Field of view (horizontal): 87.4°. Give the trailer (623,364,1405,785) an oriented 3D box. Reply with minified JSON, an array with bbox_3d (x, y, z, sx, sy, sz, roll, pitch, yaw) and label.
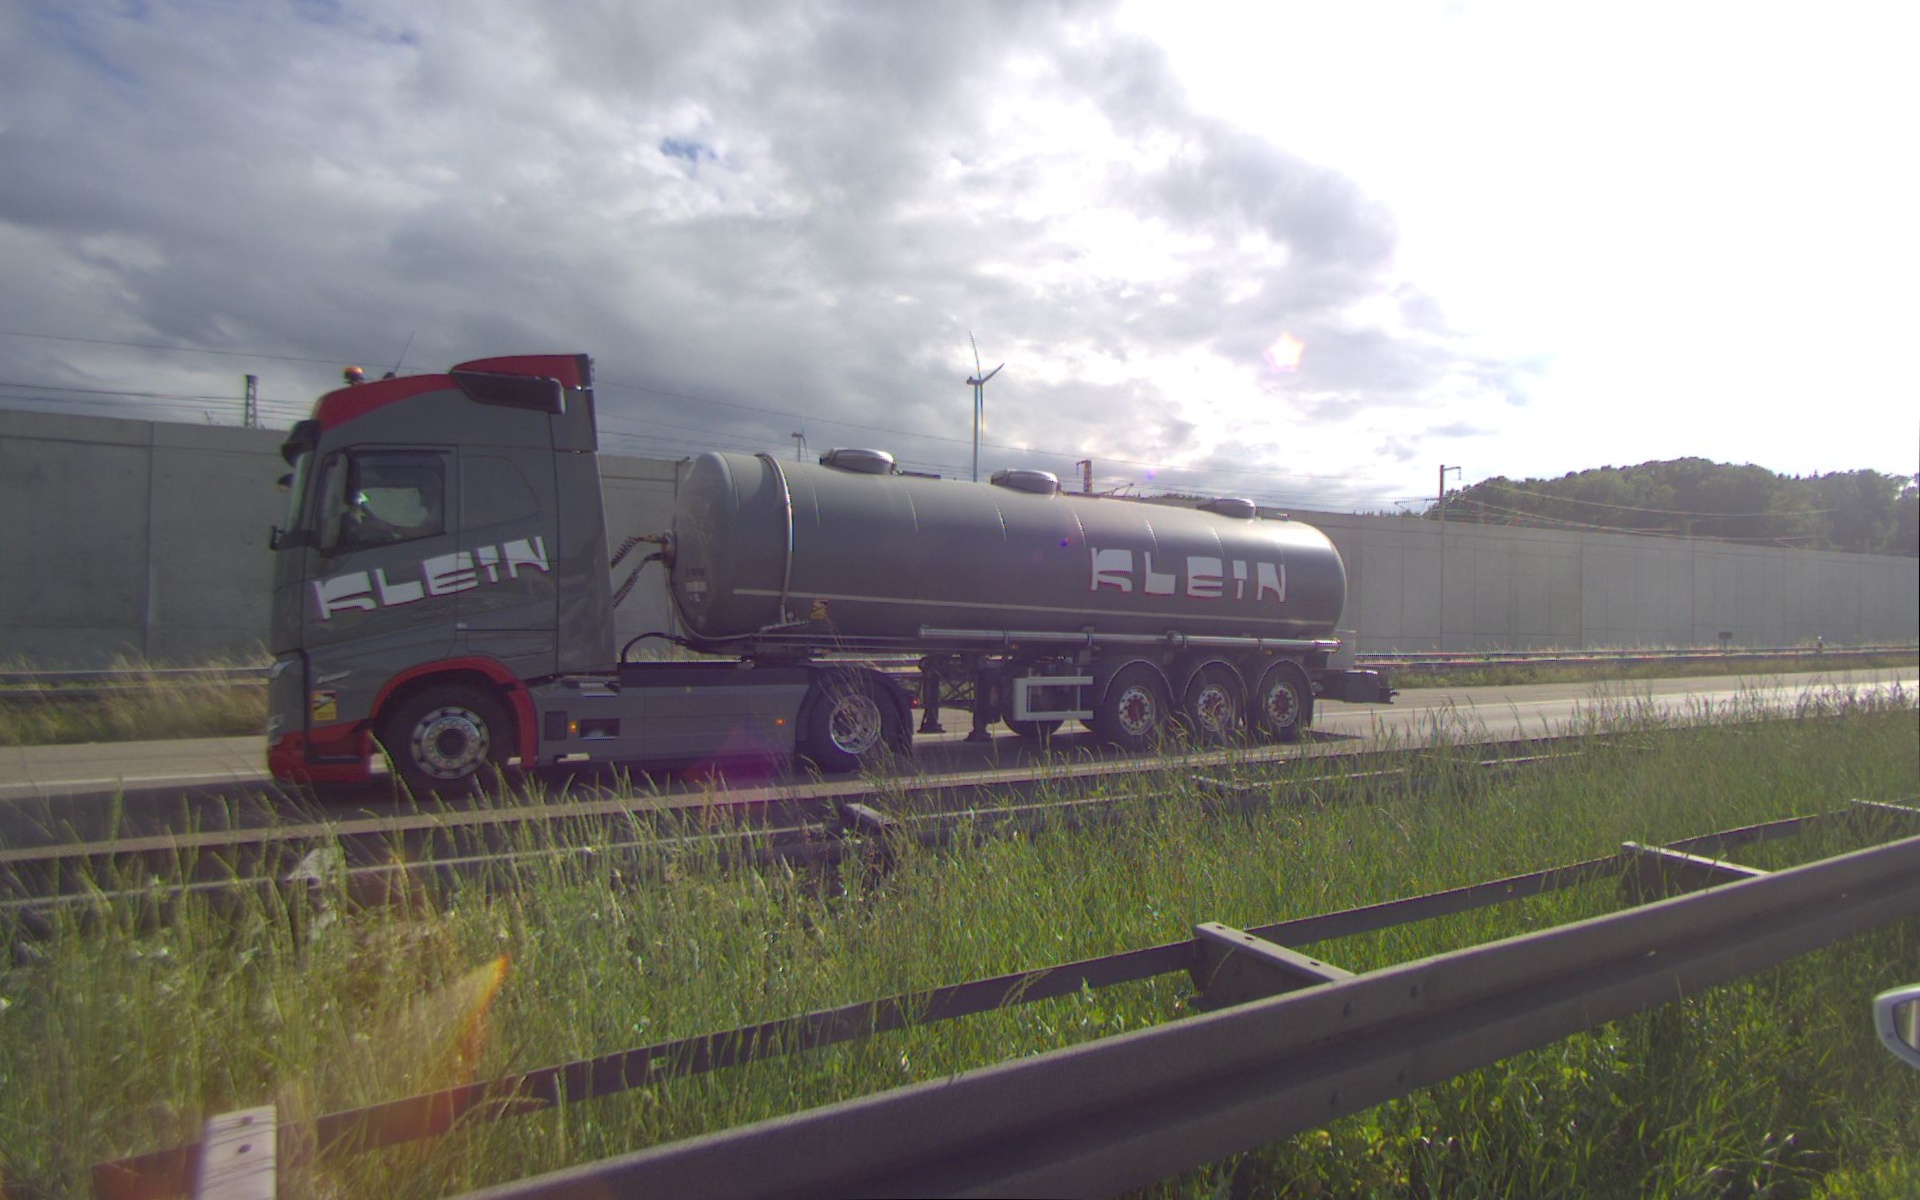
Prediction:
[{"bbox_3d":[1.369,-0.085,13.304,10.739,3.953,2.576,2,-2,-31],"label":"trailer"}]

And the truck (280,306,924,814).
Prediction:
[{"bbox_3d":[-3.470,-0.224,10.409,5.655,3.974,2.570,2,-2,-31],"label":"truck"}]
